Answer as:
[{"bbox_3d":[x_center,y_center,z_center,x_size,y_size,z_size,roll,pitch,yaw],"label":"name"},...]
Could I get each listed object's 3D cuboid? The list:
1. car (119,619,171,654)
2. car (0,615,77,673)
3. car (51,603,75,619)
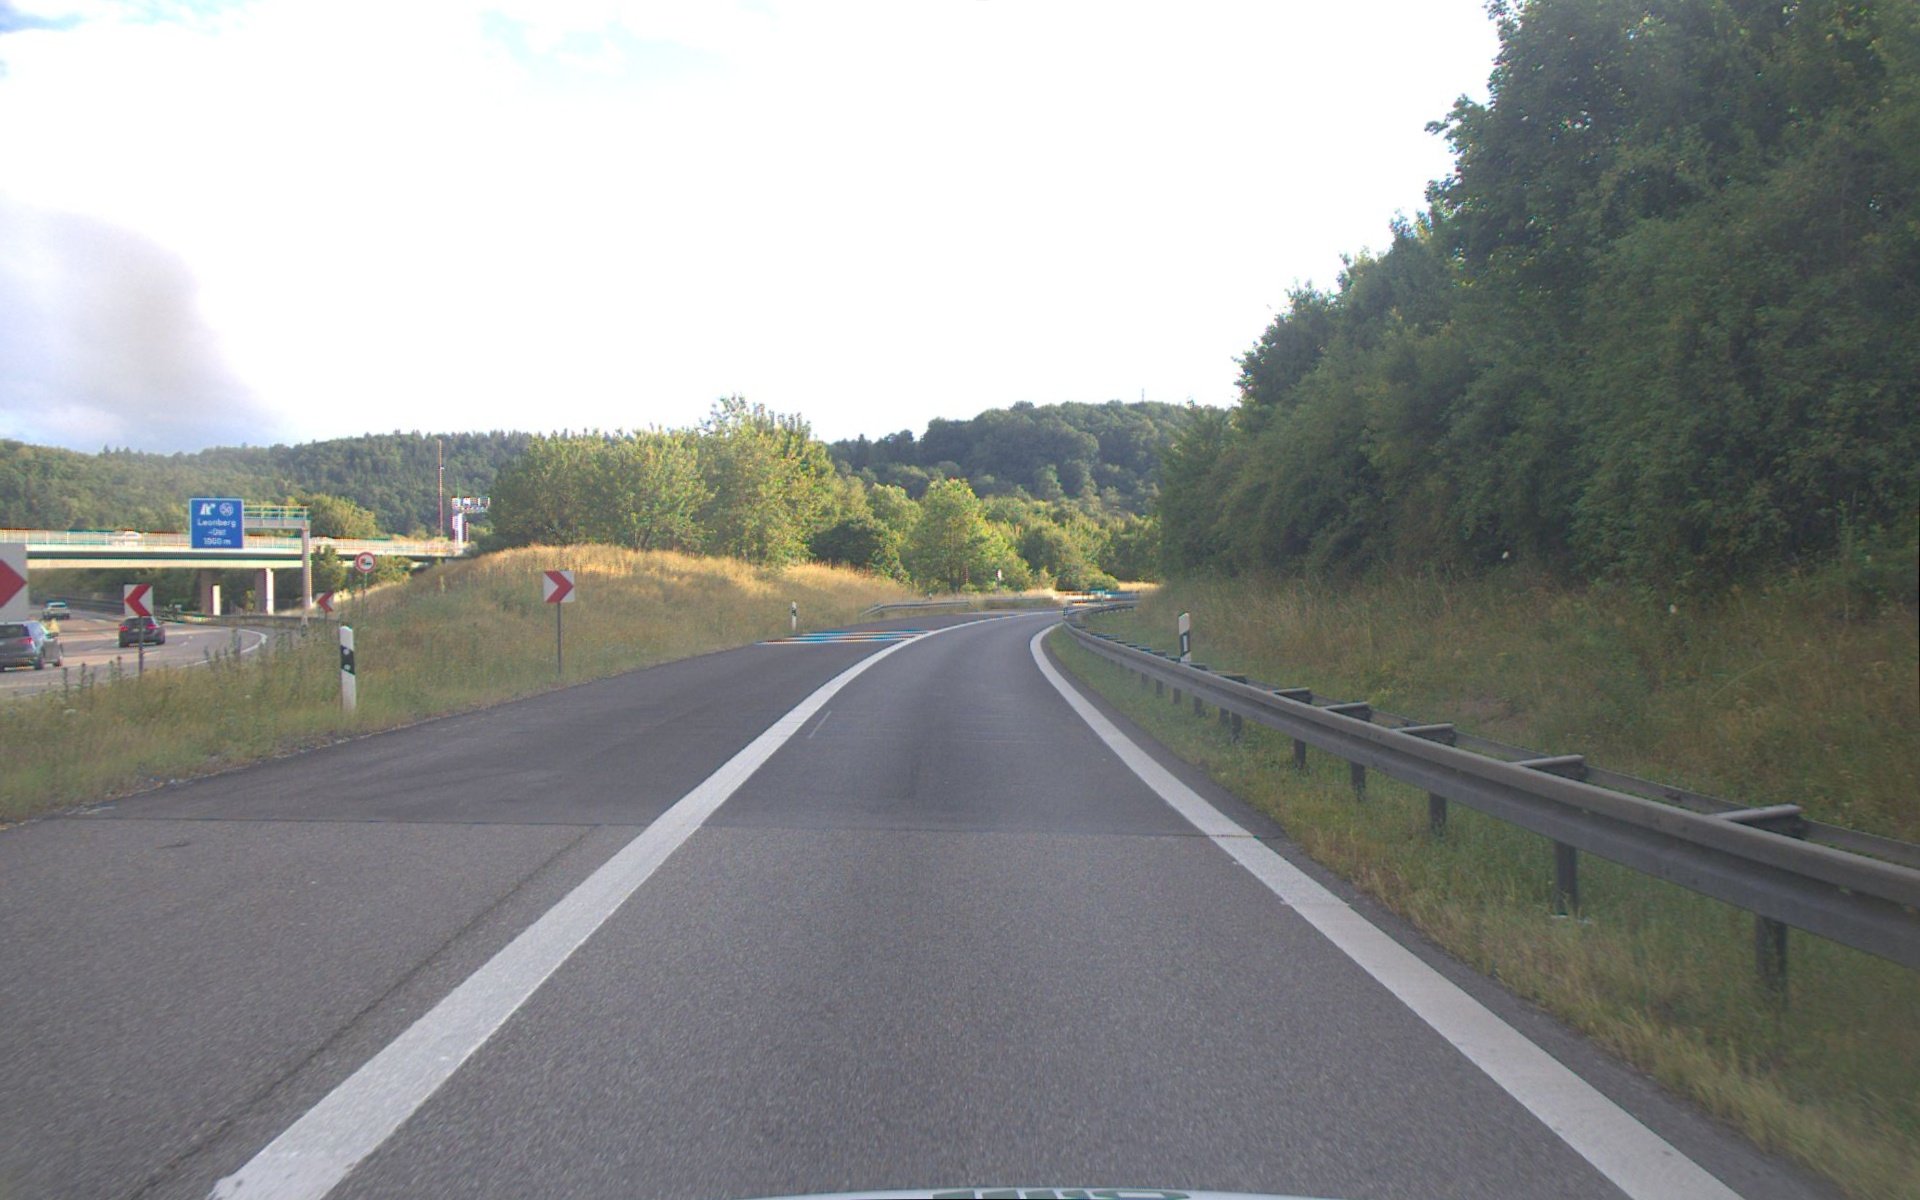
[{"bbox_3d":[-38.572,1.718,78.352,1.579,1.492,3.510,-3,1,-17],"label":"car"},{"bbox_3d":[-26.945,1.260,47.634,1.709,1.492,3.773,-4,1,-14],"label":"car"},{"bbox_3d":[-86.632,1.033,159.786,1.715,1.492,3.611,-2,0,-24],"label":"car"}]
